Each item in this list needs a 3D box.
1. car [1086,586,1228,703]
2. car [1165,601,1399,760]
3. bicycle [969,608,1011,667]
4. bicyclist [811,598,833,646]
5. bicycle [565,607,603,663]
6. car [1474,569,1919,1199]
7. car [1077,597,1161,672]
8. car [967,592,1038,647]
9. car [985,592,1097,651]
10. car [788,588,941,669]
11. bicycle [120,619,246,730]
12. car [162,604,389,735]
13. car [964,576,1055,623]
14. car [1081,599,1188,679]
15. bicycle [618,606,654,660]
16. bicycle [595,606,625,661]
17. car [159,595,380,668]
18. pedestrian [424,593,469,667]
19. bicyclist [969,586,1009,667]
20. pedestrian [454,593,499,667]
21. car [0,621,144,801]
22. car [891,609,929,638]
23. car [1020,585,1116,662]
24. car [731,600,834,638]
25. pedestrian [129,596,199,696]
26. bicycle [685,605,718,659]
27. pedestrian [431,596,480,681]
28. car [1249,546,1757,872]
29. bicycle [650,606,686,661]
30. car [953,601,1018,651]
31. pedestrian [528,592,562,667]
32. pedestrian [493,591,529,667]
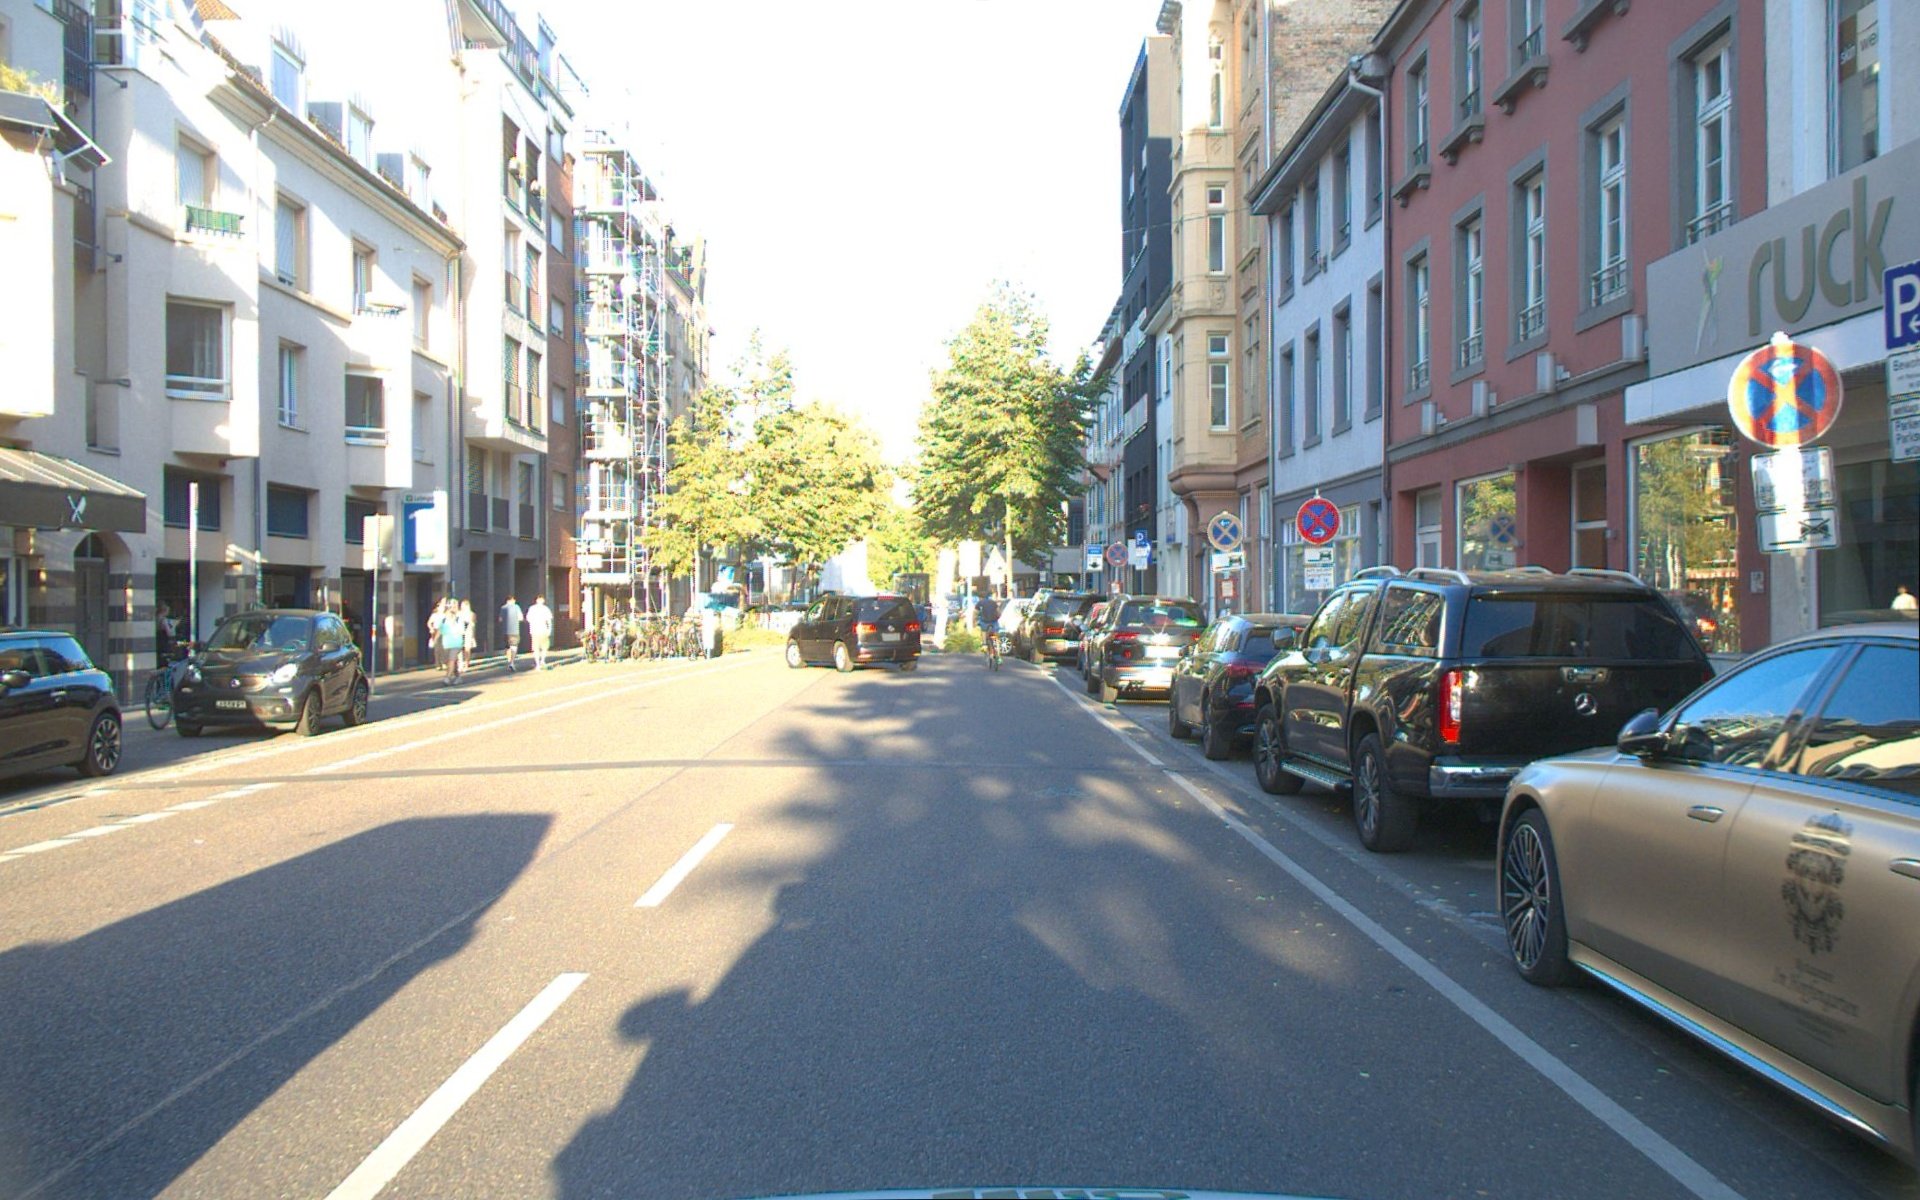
[{"bbox_3d":[3.076,0.677,26.570,1.775,1.697,4.205,1,0,0],"label":"car"},{"bbox_3d":[3.362,0.792,18.070,1.726,1.509,4.306,1,0,0],"label":"car"},{"bbox_3d":[0.645,0.800,36.147,0.765,1.225,2.020,-1,0,-3],"label":"bicycle"},{"bbox_3d":[-5.471,0.872,65.627,0.765,1.861,1.007,-1,-1,-3],"label":"bicyclist"},{"bbox_3d":[-9.975,0.903,43.962,0.707,1.420,3.147,1,0,-9],"label":"bicycle"},{"bbox_3d":[3.191,0.725,5.091,1.774,1.554,4.994,1,0,2],"label":"car"},{"bbox_3d":[3.367,0.720,35.499,1.554,1.509,3.267,1,0,1],"label":"car"},{"bbox_3d":[1.363,0.632,54.637,1.954,1.697,4.506,1,0,-3],"label":"car"},{"bbox_3d":[2.217,0.599,45.701,2.910,1.563,1.432,1,-1,-5],"label":"car"},{"bbox_3d":[-2.154,0.594,35.981,1.966,1.630,4.478,1,-1,-23],"label":"car"},{"bbox_3d":[-10.429,0.968,22.290,0.598,1.399,2.358,1,-1,-1],"label":"bicycle"},{"bbox_3d":[-8.782,0.869,21.506,1.756,1.562,3.187,0,-1,-3],"label":"car"},{"bbox_3d":[2.216,-0.032,73.272,3.903,2.049,2.001,0,0,4],"label":"car"},{"bbox_3d":[3.264,0.710,31.551,1.632,1.402,3.802,1,0,0],"label":"car"},{"bbox_3d":[-8.641,0.866,44.202,0.766,1.397,3.136,1,0,-9],"label":"bicycle"},{"bbox_3d":[-9.319,0.871,44.076,0.574,1.420,3.154,1,0,-9],"label":"bicycle"},{"bbox_3d":[-16.470,0.734,39.582,4.401,1.630,2.001,1,-1,2],"label":"car"},{"bbox_3d":[-11.864,0.686,38.209,0.701,1.670,0.855,1,-1,4],"label":"pedestrian"},{"bbox_3d":[0.630,0.565,35.993,0.765,1.726,1.007,-1,-1,-3],"label":"bicyclist"},{"bbox_3d":[-11.143,0.695,38.119,0.701,1.670,0.855,1,-1,4],"label":"pedestrian"},{"bbox_3d":[-8.904,0.941,14.453,1.676,1.479,3.724,1,0,0],"label":"car"},{"bbox_3d":[-2.650,1.242,87.675,1.800,1.466,4.332,1,0,1],"label":"car"},{"bbox_3d":[2.558,0.557,40.143,1.788,1.725,4.366,1,0,-3],"label":"car"},{"bbox_3d":[-7.381,0.774,68.921,4.018,1.491,1.890,1,-1,1],"label":"car"},{"bbox_3d":[-13.335,0.757,27.722,0.702,1.644,0.855,1,-1,2],"label":"pedestrian"},{"bbox_3d":[-6.939,0.832,44.492,0.829,1.374,3.180,-1,0,-9],"label":"bicycle"},{"bbox_3d":[-10.181,0.766,33.381,0.702,1.670,0.951,1,-1,-3],"label":"pedestrian"},{"bbox_3d":[3.466,0.627,11.721,1.845,1.785,5.057,1,0,-1],"label":"car"},{"bbox_3d":[-7.810,0.863,44.348,0.876,1.420,3.160,0,0,-9],"label":"bicycle"},{"bbox_3d":[1.000,1.054,67.842,2.221,1.796,4.506,6,-1,-3],"label":"car"},{"bbox_3d":[-9.996,0.710,39.866,0.703,1.771,0.737,1,-1,-8],"label":"pedestrian"},{"bbox_3d":[-10.693,0.691,39.397,0.703,1.798,0.693,1,-1,-8],"label":"pedestrian"}]
